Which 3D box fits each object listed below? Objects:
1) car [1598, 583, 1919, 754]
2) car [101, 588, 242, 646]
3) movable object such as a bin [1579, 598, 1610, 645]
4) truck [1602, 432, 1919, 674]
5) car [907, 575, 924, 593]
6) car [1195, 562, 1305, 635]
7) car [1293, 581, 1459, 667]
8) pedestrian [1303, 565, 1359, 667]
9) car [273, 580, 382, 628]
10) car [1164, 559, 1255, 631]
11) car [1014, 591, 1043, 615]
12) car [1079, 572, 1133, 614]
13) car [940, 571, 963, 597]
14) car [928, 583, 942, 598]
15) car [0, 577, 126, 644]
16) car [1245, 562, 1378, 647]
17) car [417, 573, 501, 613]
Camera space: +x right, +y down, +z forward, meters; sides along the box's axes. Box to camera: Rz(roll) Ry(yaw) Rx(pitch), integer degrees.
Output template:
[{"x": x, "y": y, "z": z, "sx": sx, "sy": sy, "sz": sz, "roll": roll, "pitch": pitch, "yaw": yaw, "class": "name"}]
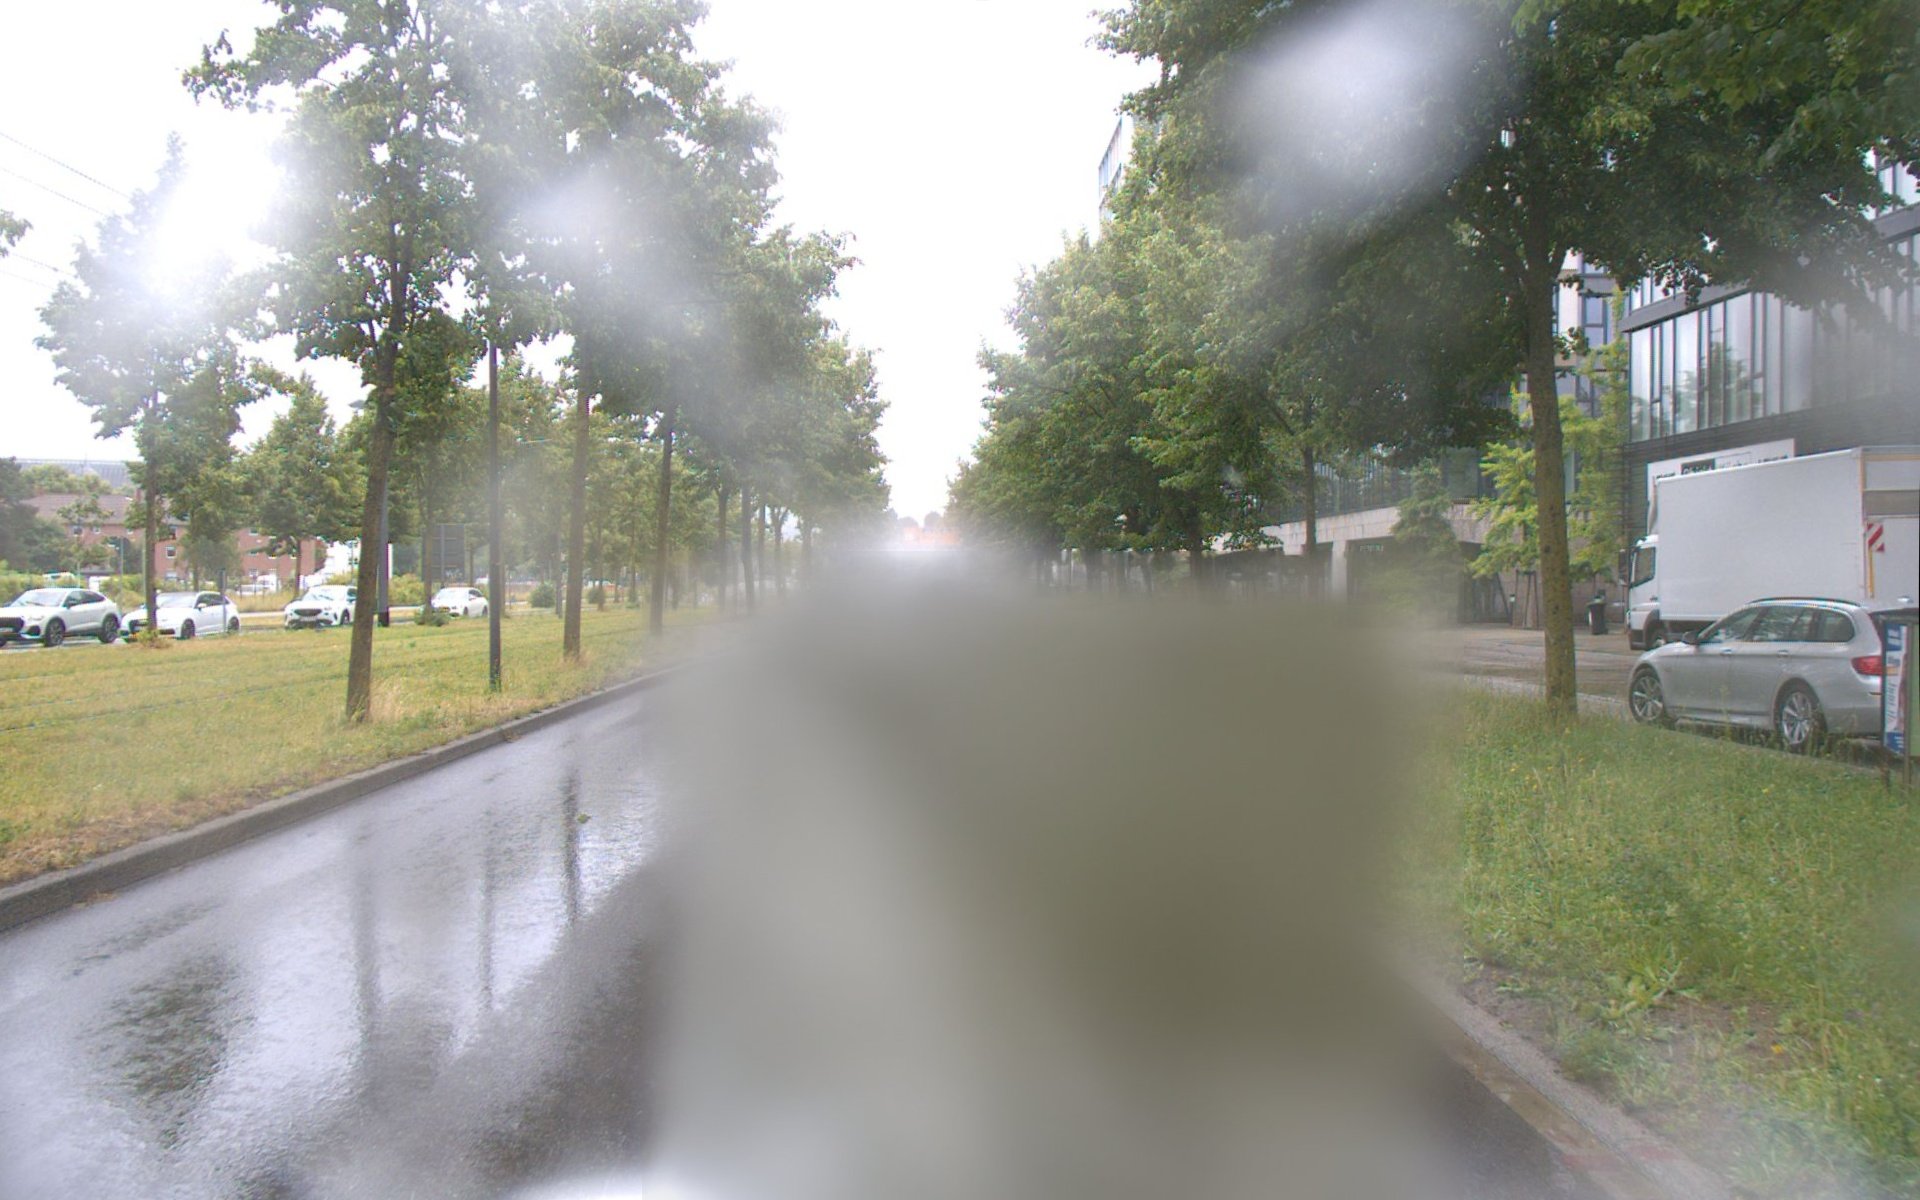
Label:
[{"x": 8.700, "y": 0.565, "z": 16.976, "sx": 1.954, "sy": 1.469, "sz": 5.233, "roll": 0, "pitch": 1, "yaw": -4, "class": "car"}, {"x": -22.351, "y": 0.449, "z": 47.092, "sx": 1.911, "sy": 1.540, "sz": 4.575, "roll": 0, "pitch": 1, "yaw": -2, "class": "car"}, {"x": 18.120, "y": 0.612, "z": 47.219, "sx": 0.596, "sy": 1.298, "sz": 0.647, "roll": 0, "pitch": 3, "yaw": -6, "class": "movable object such as a bin"}, {"x": 14.364, "y": -0.733, "z": 28.249, "sx": 2.965, "sy": 3.501, "sz": 8.541, "roll": 0, "pitch": 1, "yaw": -4, "class": "truck"}, {"x": -5.419, "y": -1.944, "z": 200.855, "sx": 1.952, "sy": 2.048, "sz": 4.002, "roll": 0, "pitch": 3, "yaw": 1, "class": "car"}, {"x": 7.663, "y": -0.099, "z": 44.115, "sx": 1.953, "sy": 1.698, "sz": 4.958, "roll": 0, "pitch": 3, "yaw": -1, "class": "car"}, {"x": 7.983, "y": 0.403, "z": 32.194, "sx": 1.735, "sy": 1.477, "sz": 4.720, "roll": 1, "pitch": 1, "yaw": -4, "class": "car"}, {"x": 5.614, "y": 0.238, "z": 25.049, "sx": 0.684, "sy": 1.519, "sz": 0.643, "roll": 0, "pitch": 0, "yaw": -4, "class": "pedestrian"}, {"x": -20.385, "y": 0.095, "z": 53.497, "sx": 1.911, "sy": 1.477, "sz": 4.575, "roll": 0, "pitch": 1, "yaw": -2, "class": "car"}, {"x": 7.692, "y": -0.199, "z": 51.360, "sx": 1.953, "sy": 1.986, "sz": 5.029, "roll": 0, "pitch": 3, "yaw": -1, "class": "car"}, {"x": 5.018, "y": 0.216, "z": 121.633, "sx": 1.843, "sy": 1.532, "sz": 4.724, "roll": 0, "pitch": 3, "yaw": -1, "class": "car"}, {"x": 6.638, "y": -0.330, "z": 75.691, "sx": 1.953, "sy": 1.698, "sz": 4.724, "roll": 0, "pitch": 3, "yaw": -1, "class": "car"}, {"x": -0.768, "y": -1.416, "z": 143.710, "sx": 1.901, "sy": 2.048, "sz": 4.000, "roll": 0, "pitch": 3, "yaw": -1, "class": "car"}, {"x": -3.689, "y": -1.420, "z": 245.687, "sx": 1.952, "sy": 2.048, "sz": 4.002, "roll": 0, "pitch": 3, "yaw": 1, "class": "car"}, {"x": -25.439, "y": 0.250, "z": 46.157, "sx": 1.910, "sy": 1.779, "sz": 4.577, "roll": 0, "pitch": 1, "yaw": 1, "class": "car"}, {"x": 8.031, "y": 0.037, "z": 38.217, "sx": 1.953, "sy": 1.698, "sz": 4.724, "roll": 0, "pitch": 3, "yaw": -1, "class": "car"}, {"x": -21.133, "y": -0.333, "z": 69.975, "sx": 1.910, "sy": 1.486, "sz": 4.834, "roll": 0, "pitch": 3, "yaw": 2, "class": "car"}]
